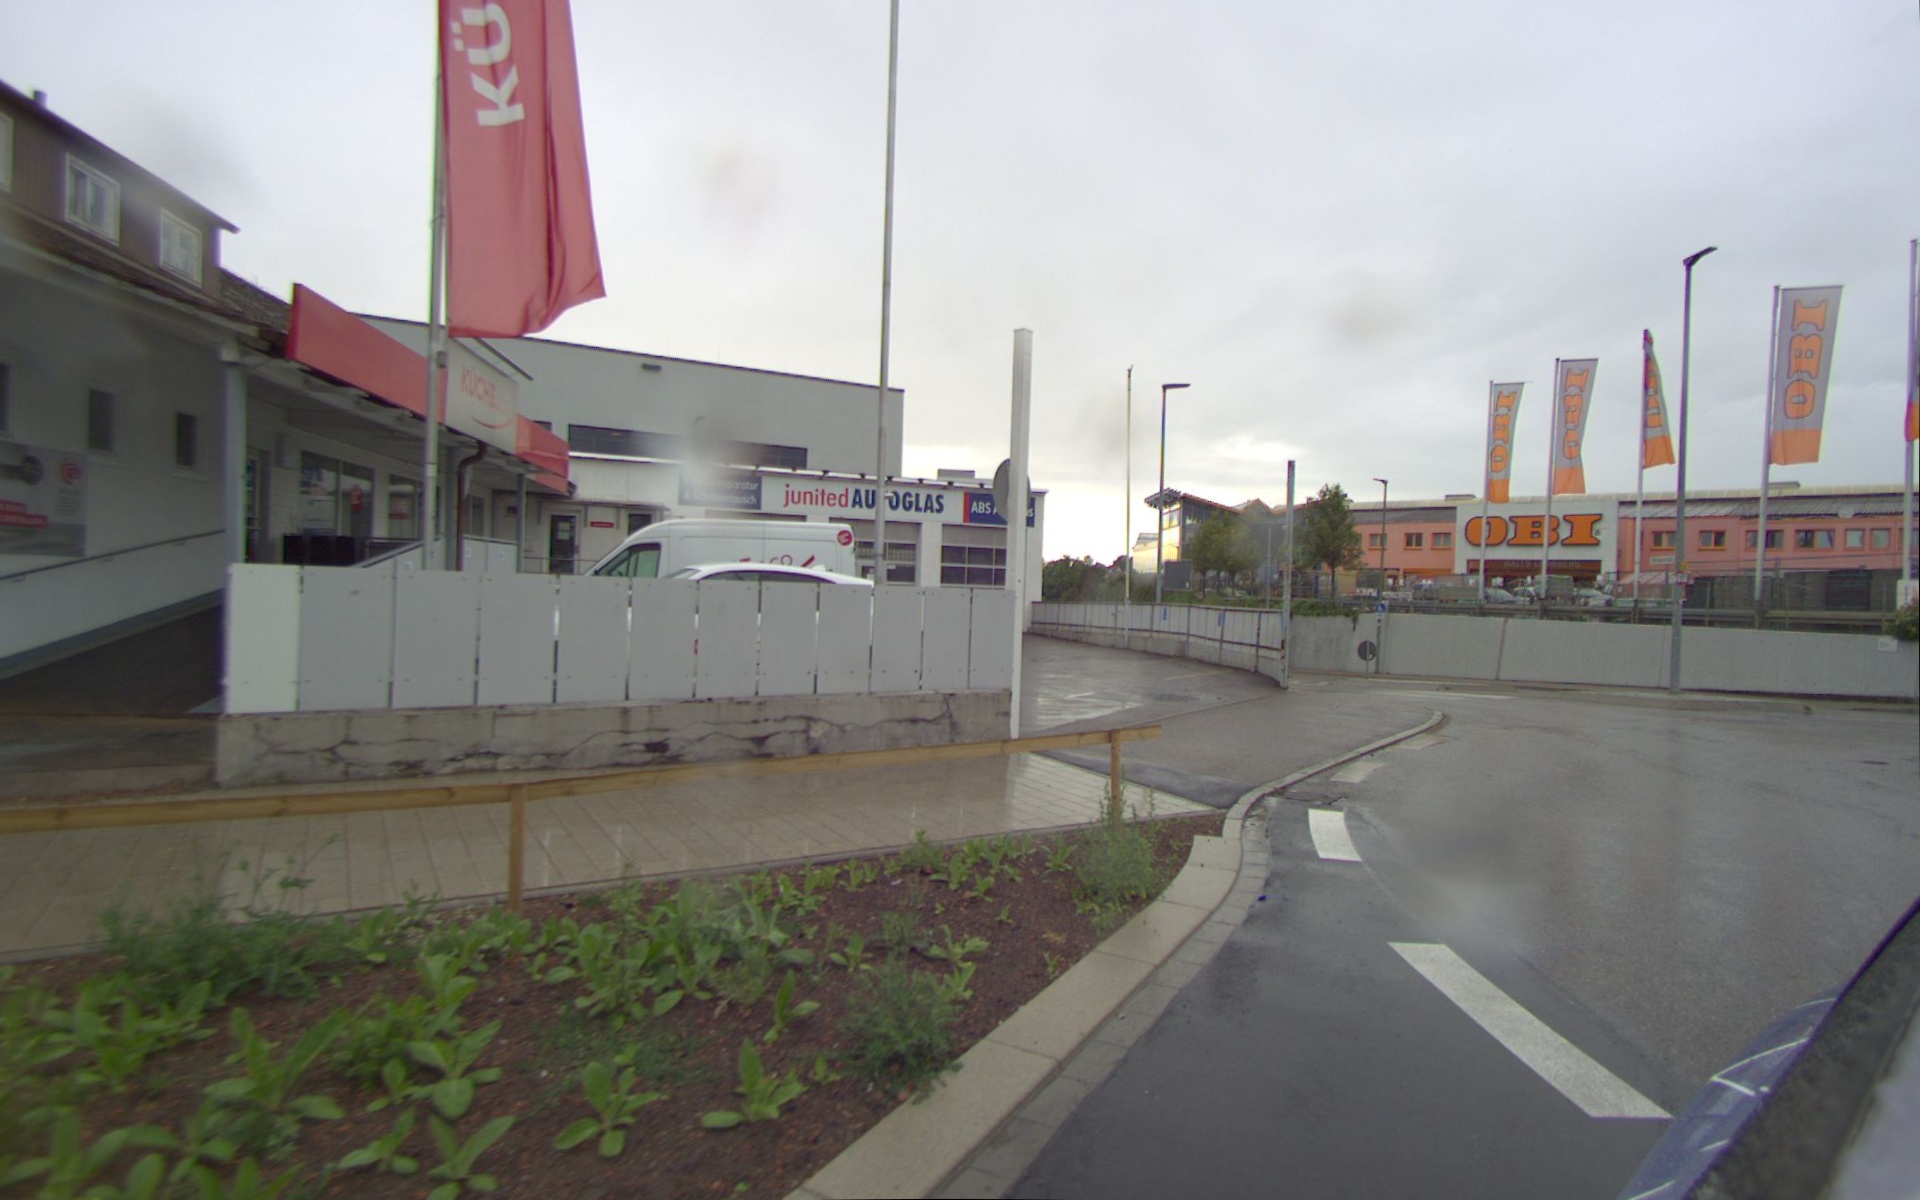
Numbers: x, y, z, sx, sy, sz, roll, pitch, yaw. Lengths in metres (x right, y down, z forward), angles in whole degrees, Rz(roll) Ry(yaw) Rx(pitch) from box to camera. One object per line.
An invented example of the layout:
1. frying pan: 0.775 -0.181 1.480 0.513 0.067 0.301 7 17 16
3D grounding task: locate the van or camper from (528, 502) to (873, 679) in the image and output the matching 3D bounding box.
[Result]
1. van or camper: -4.201 -0.106 16.882 5.153 2.573 2.134 2 -1 -13

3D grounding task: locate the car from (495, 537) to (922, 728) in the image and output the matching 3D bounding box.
1. car: -2.668 0.357 10.807 4.084 1.712 1.850 2 -1 -26
